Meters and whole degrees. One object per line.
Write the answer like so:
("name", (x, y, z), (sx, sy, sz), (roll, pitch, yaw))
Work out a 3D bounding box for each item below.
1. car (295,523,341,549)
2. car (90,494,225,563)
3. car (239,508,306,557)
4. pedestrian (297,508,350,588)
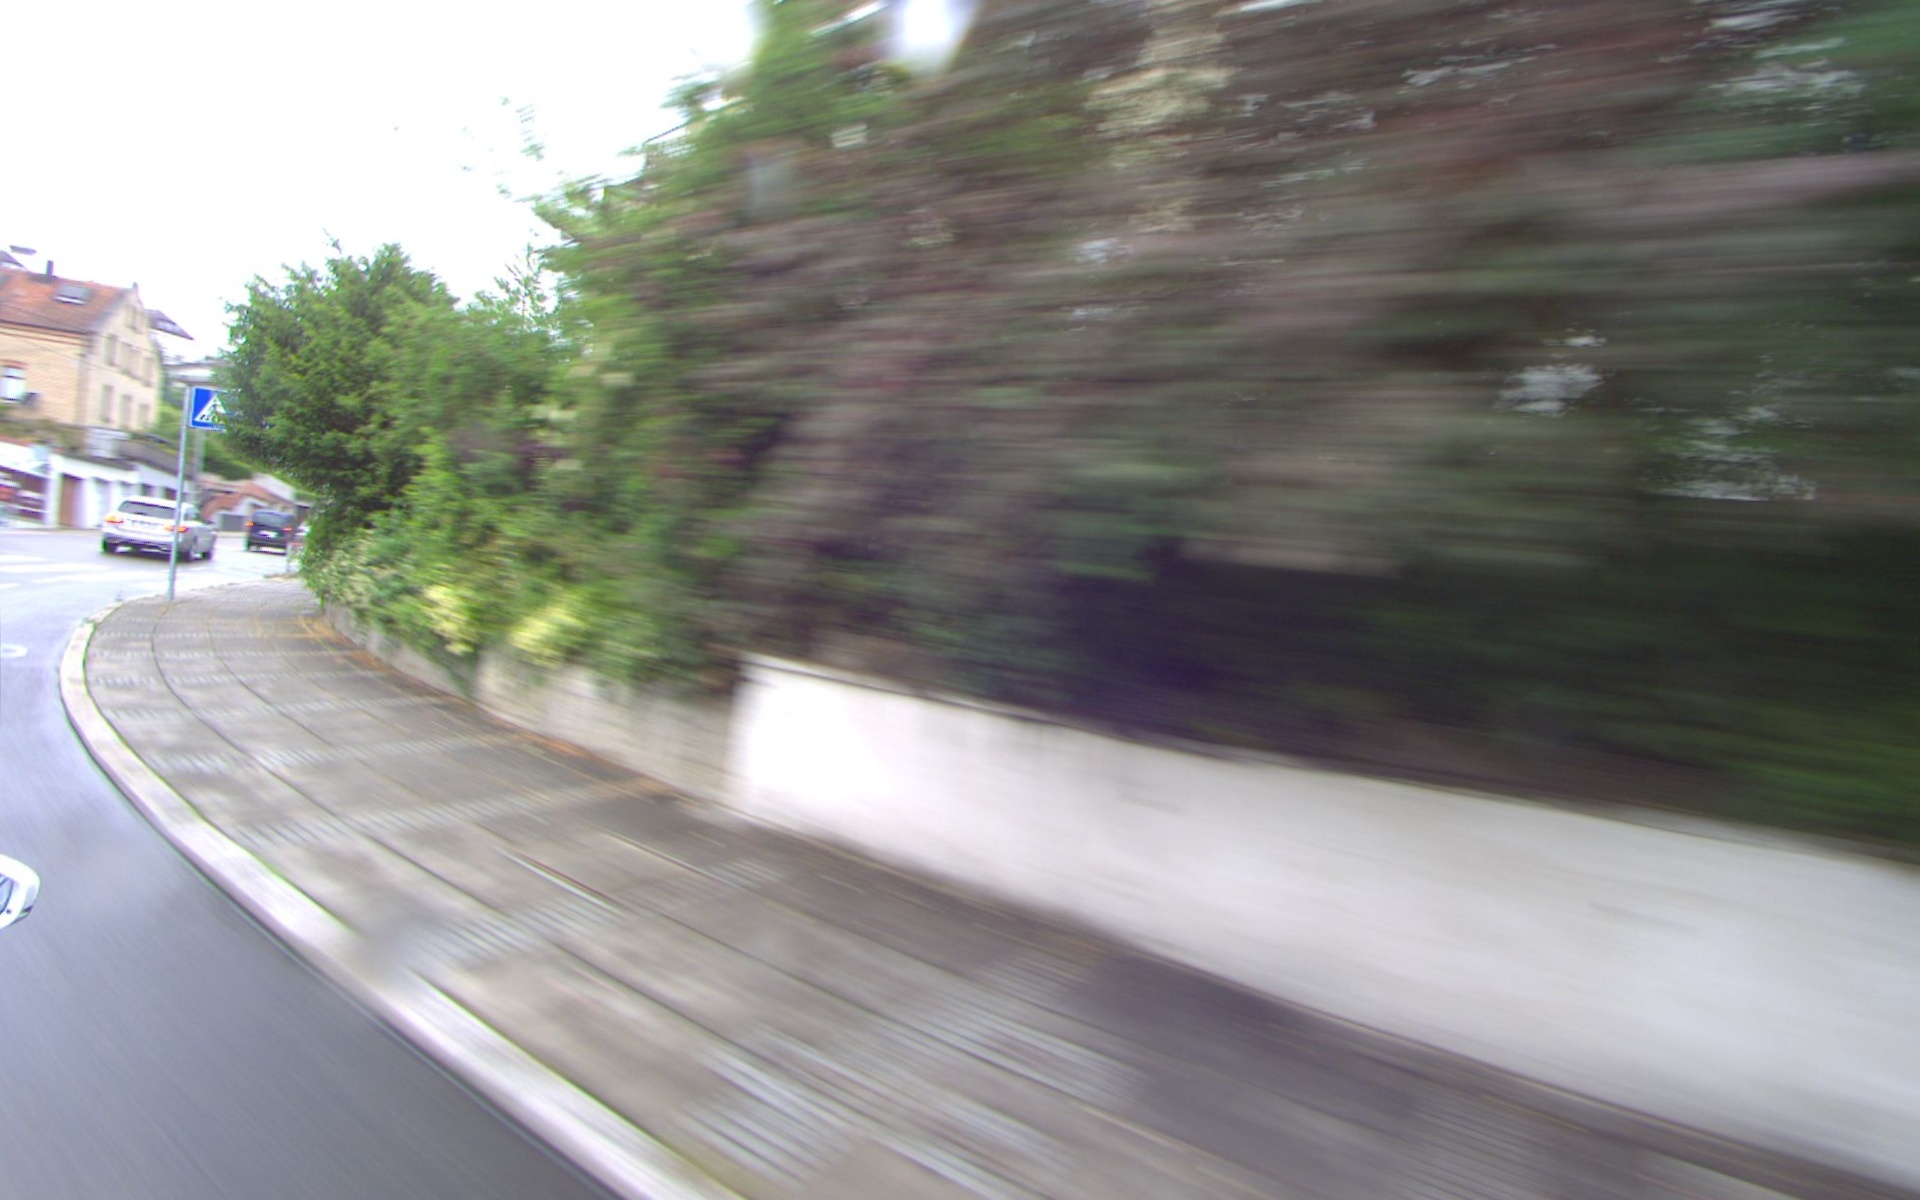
("car", (-39.373, -3.904, 61.731), (1.807, 1.313, 3.974), (6, 0, -26))
("car", (-20.540, -1.835, 25.923), (1.796, 1.377, 3.972), (8, 0, -27))
("car", (-30.280, -2.981, 44.416), (1.808, 1.842, 3.972), (6, 1, -27))
("pedestrian", (-14.639, -1.185, 23.153), (0.795, 1.745, 1.054), (4, 2, -24))
